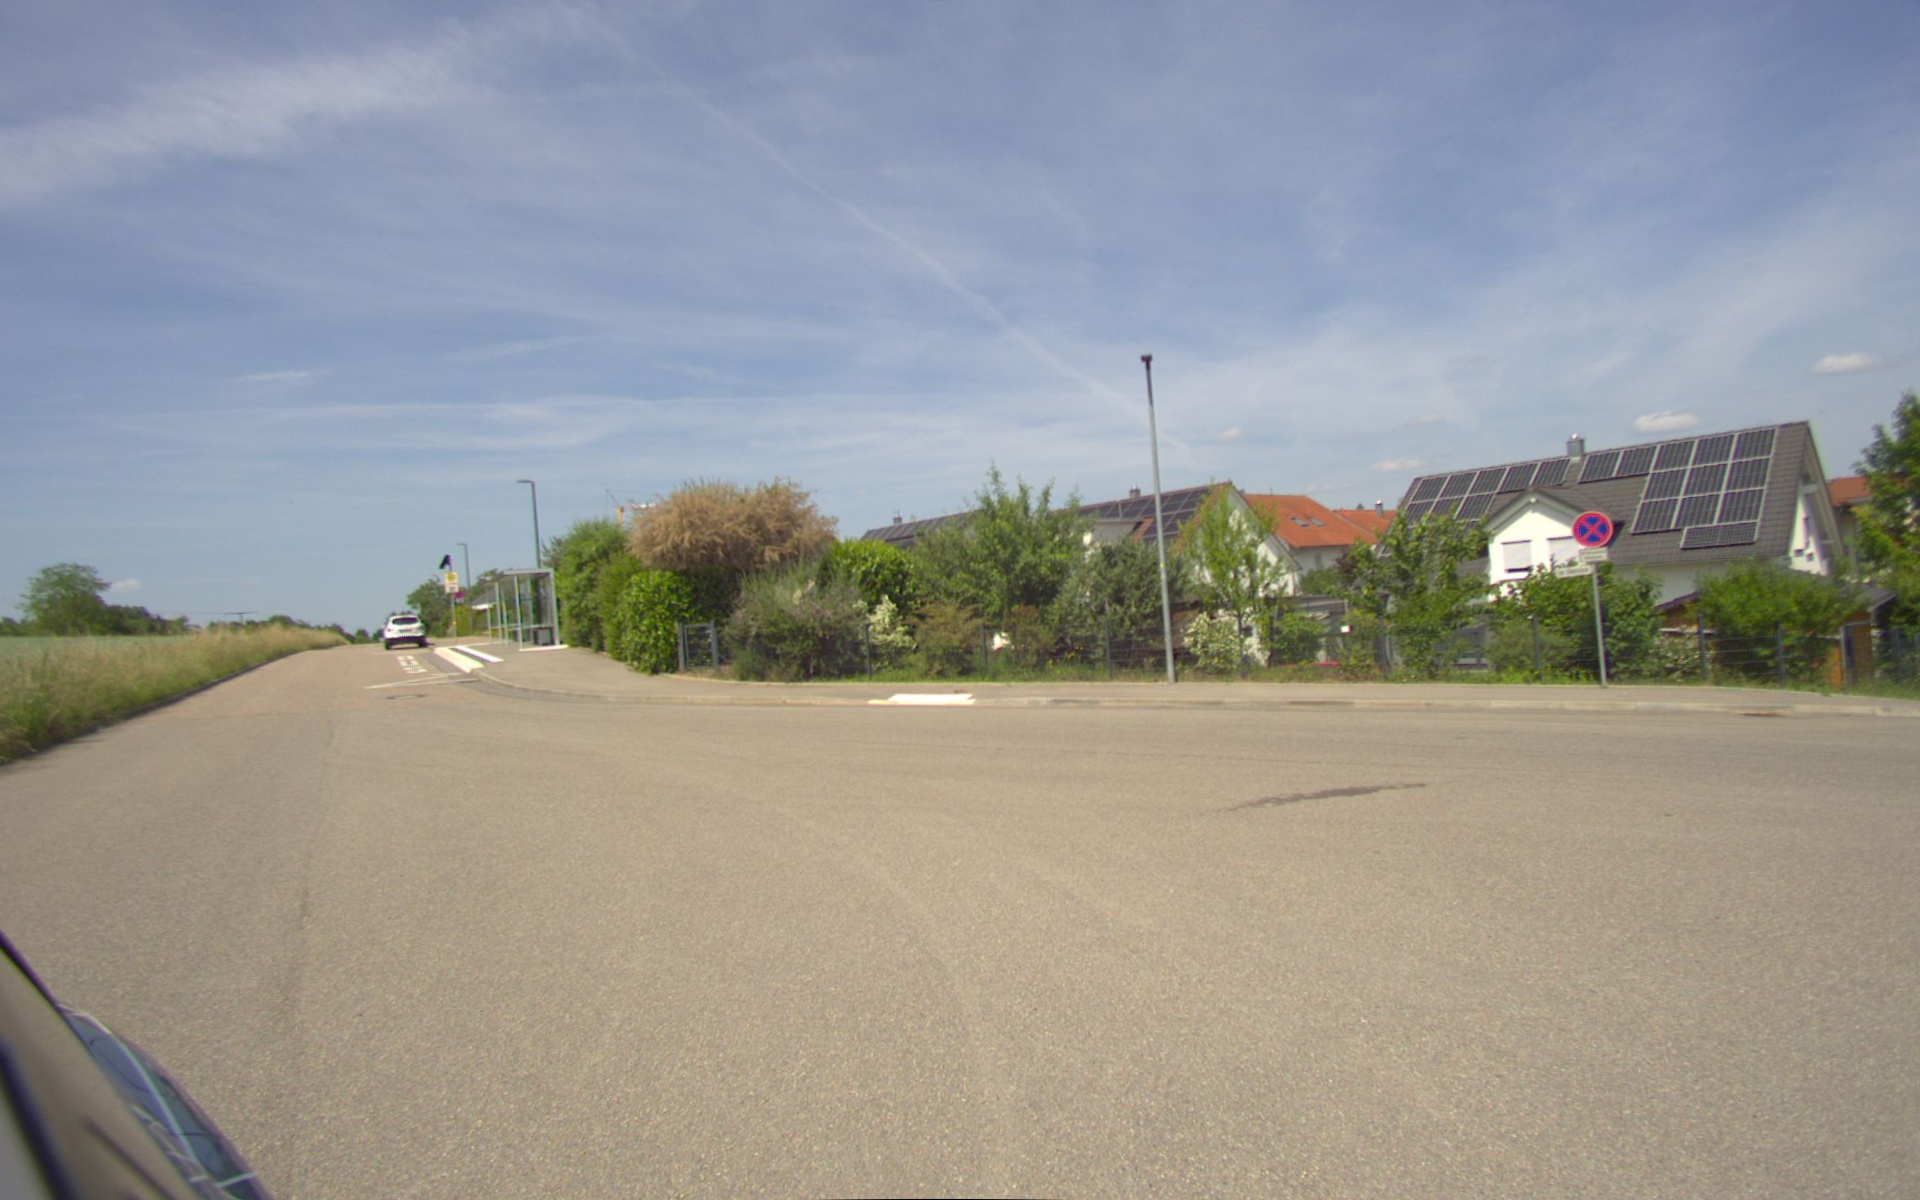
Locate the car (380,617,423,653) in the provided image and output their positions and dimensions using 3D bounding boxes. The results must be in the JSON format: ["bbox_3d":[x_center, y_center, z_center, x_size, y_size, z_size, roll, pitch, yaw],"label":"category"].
[{"bbox_3d":[-28.308,1.764,51.243,1.710,1.645,4.365,-3,0,-31],"label":"car"}]
